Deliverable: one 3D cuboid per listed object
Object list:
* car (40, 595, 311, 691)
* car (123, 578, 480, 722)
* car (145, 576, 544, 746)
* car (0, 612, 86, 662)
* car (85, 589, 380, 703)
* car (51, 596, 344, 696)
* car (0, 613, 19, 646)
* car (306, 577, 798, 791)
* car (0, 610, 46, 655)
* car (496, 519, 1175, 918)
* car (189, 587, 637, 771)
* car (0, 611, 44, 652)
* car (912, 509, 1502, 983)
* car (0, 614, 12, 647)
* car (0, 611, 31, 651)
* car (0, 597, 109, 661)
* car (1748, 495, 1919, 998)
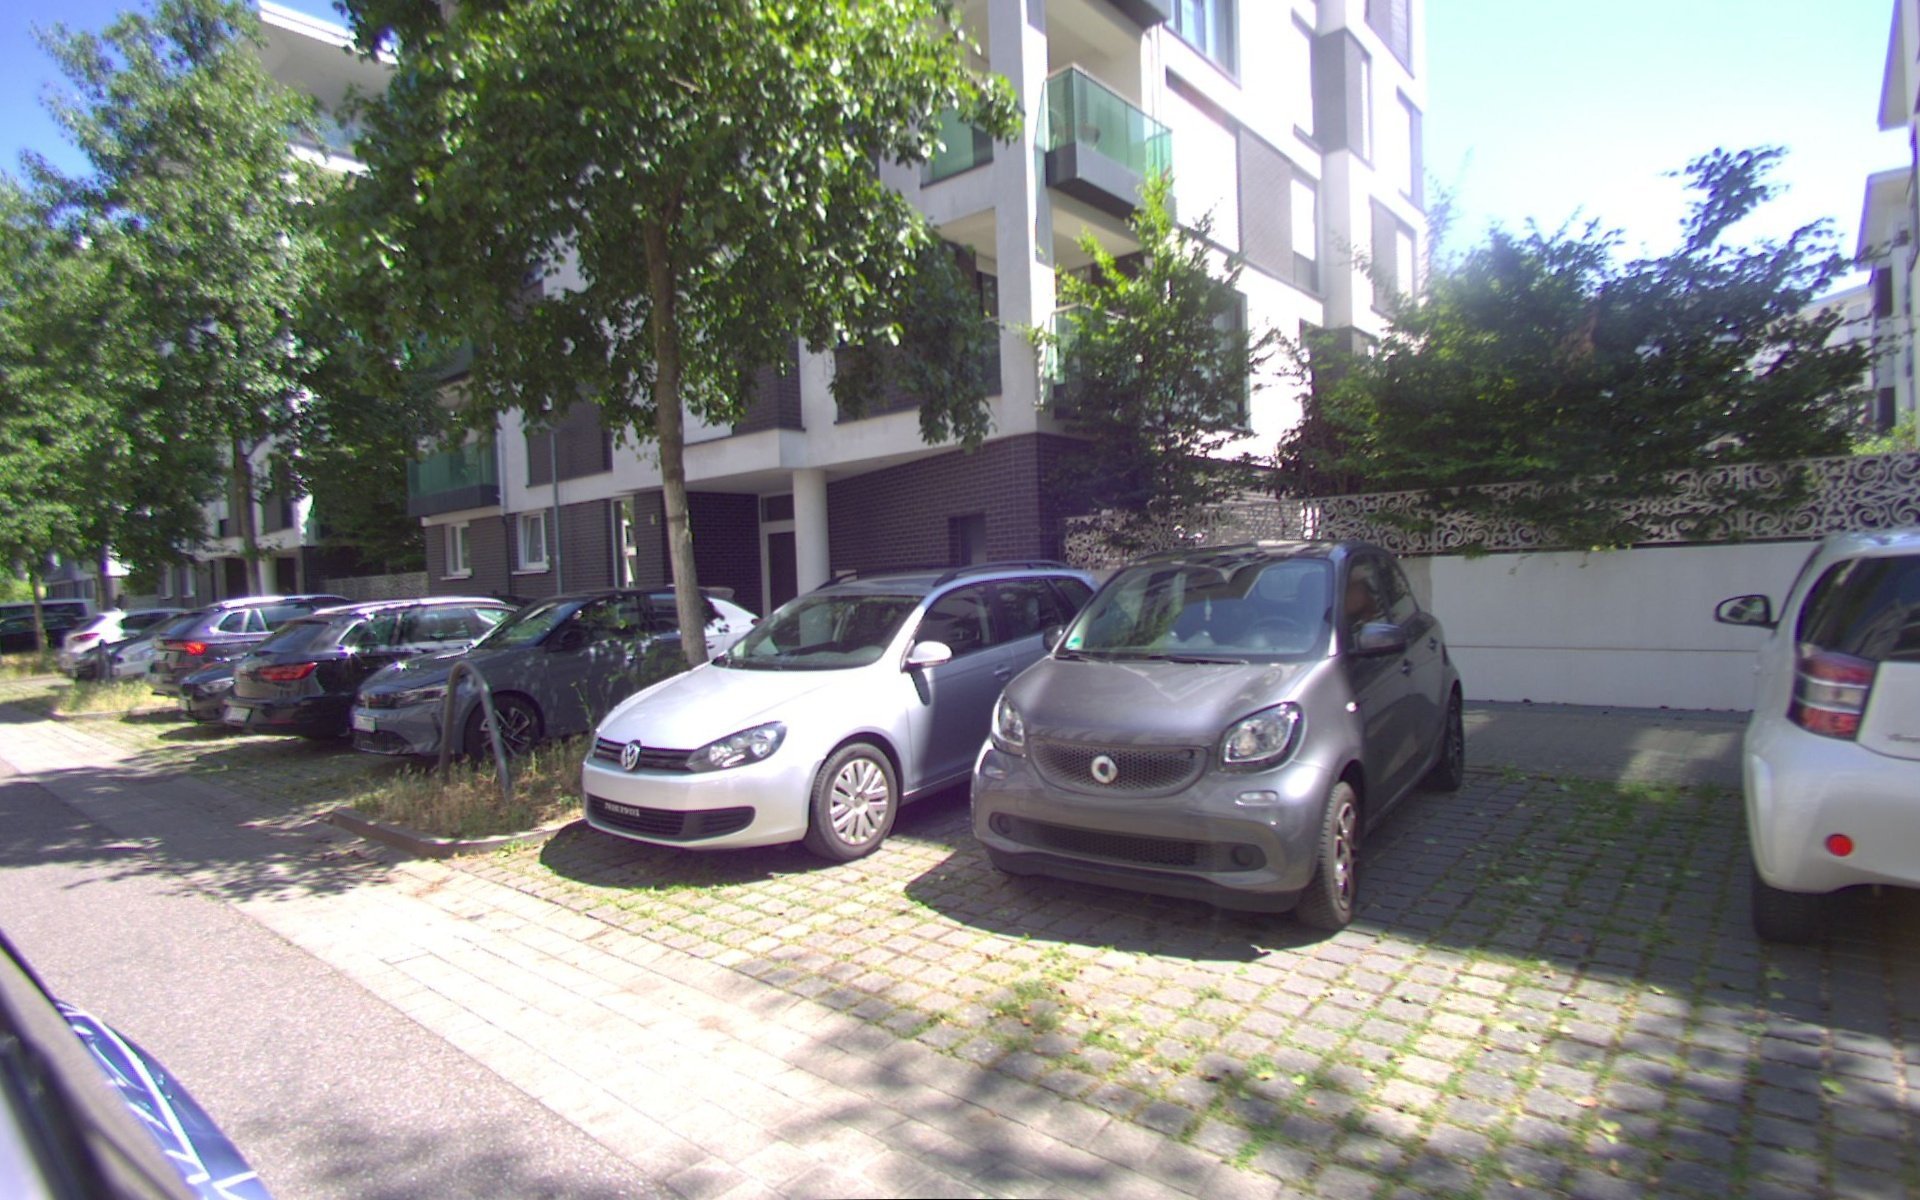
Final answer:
[{"bbox_3d":[-16.694,0.841,21.710,1.923,1.528,4.211,-1,3,40],"label":"car"},{"bbox_3d":[-9.510,0.616,14.862,1.932,1.641,3.947,-1,3,40],"label":"car"},{"bbox_3d":[-7.758,0.645,13.024,1.918,1.663,3.945,-1,3,42],"label":"car"},{"bbox_3d":[-31.611,1.268,33.639,1.676,1.492,3.588,-1,3,39],"label":"car"},{"bbox_3d":[-13.028,0.743,18.298,1.883,1.603,3.947,-2,2,41],"label":"car"},{"bbox_3d":[-14.925,0.827,20.016,1.791,1.486,4.274,-2,3,40],"label":"car"},{"bbox_3d":[-50.672,1.617,50.633,2.039,1.644,4.981,-2,2,38],"label":"car"},{"bbox_3d":[-3.752,0.631,9.831,1.896,1.432,3.946,-2,3,41],"label":"car"},{"bbox_3d":[-39.276,1.378,40.563,1.850,1.688,3.644,-1,3,40],"label":"car"},{"bbox_3d":[-0.464,0.520,6.699,1.997,1.723,4.319,-2,-1,38],"label":"car"},{"bbox_3d":[-5.827,0.707,11.211,1.772,1.456,3.939,-1,3,36],"label":"car"},{"bbox_3d":[-41.427,1.470,42.101,1.962,1.605,4.520,-2,3,35],"label":"car"},{"bbox_3d":[1.615,0.392,5.422,1.817,1.597,3.677,-1,3,35],"label":"car"},{"bbox_3d":[-48.728,1.647,48.721,1.819,1.542,4.213,-2,3,37],"label":"car"},{"bbox_3d":[-43.240,1.466,44.031,1.949,1.641,3.938,-1,3,42],"label":"car"},{"bbox_3d":[-33.595,1.051,35.621,2.187,2.126,5.285,-1,1,42],"label":"car"},{"bbox_3d":[4.206,0.334,3.838,1.846,1.511,2.905,-2,3,39],"label":"car"}]
